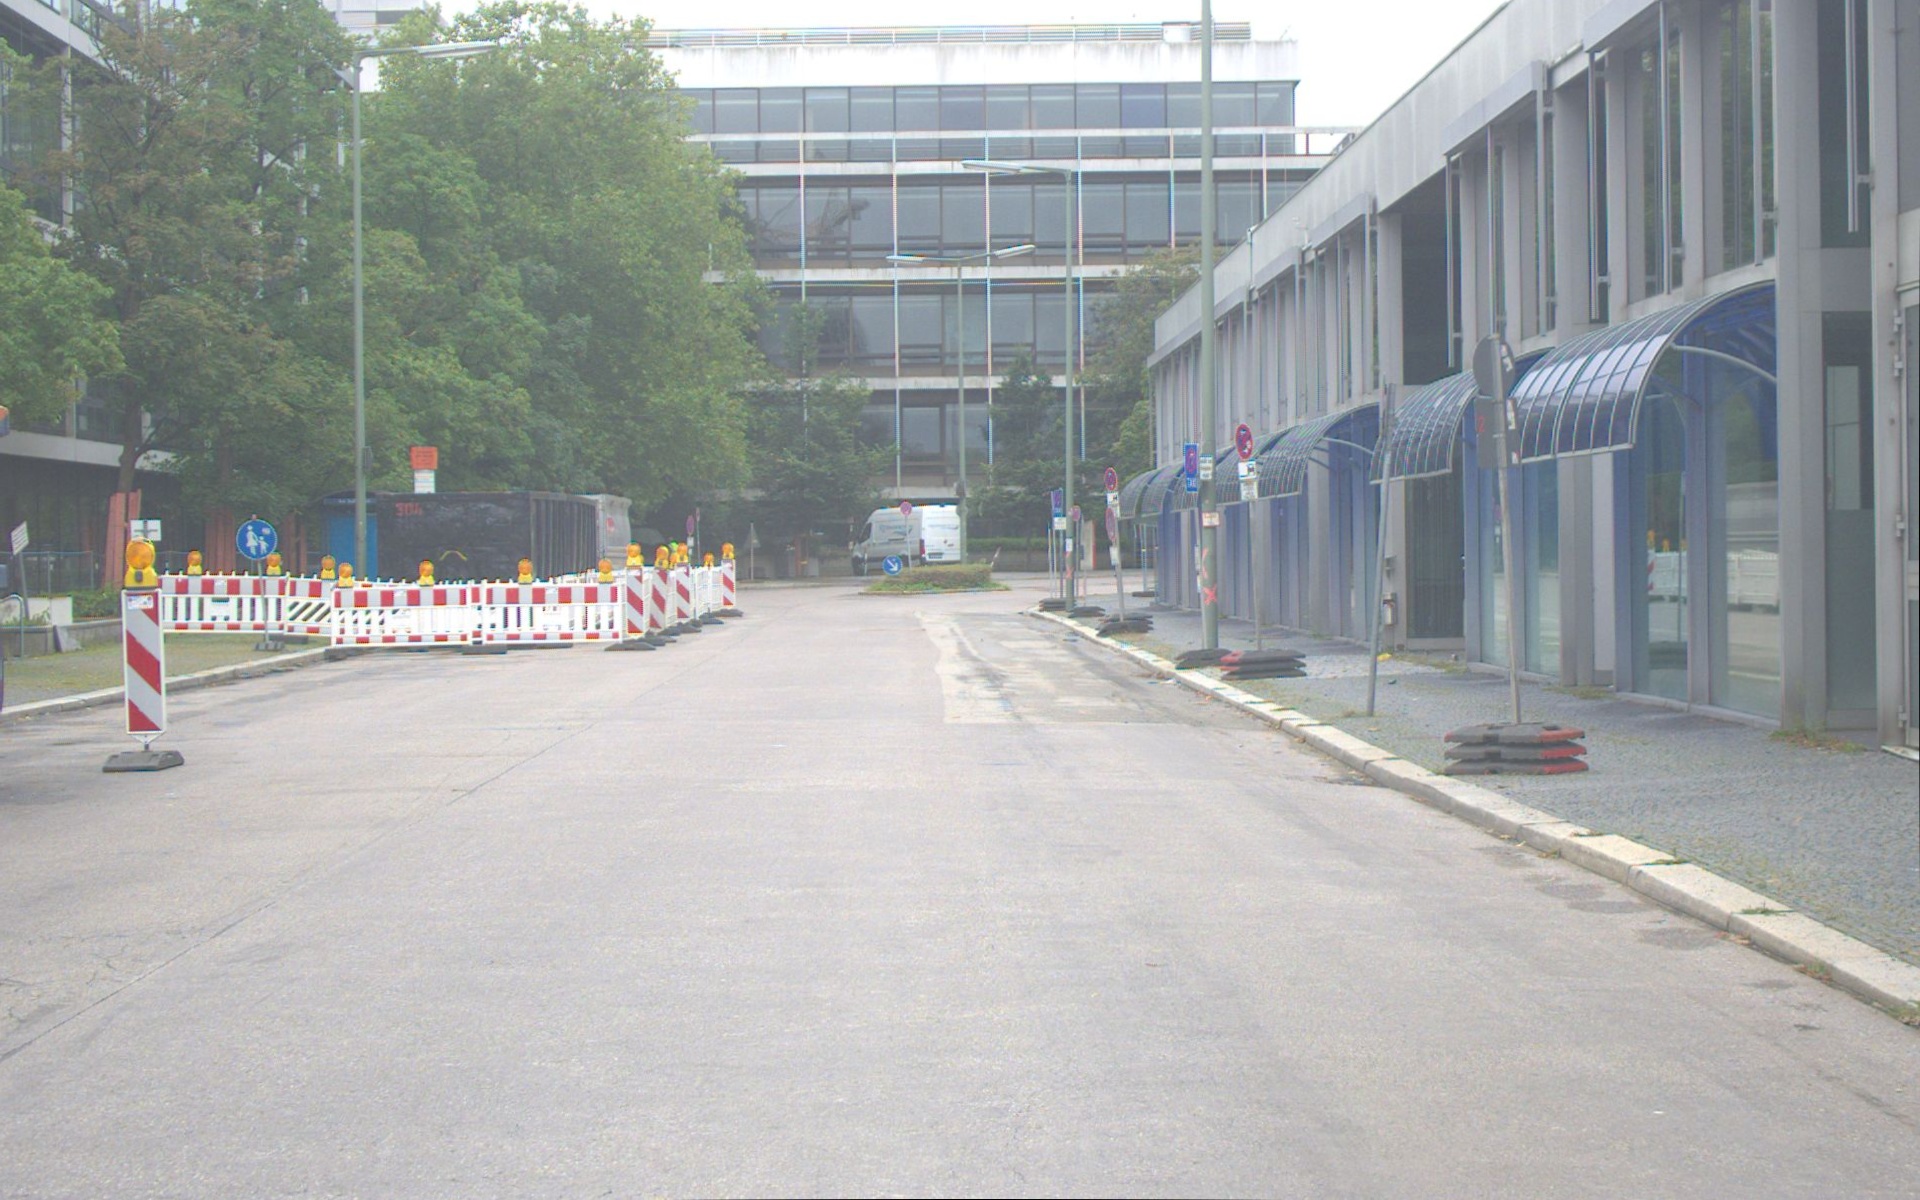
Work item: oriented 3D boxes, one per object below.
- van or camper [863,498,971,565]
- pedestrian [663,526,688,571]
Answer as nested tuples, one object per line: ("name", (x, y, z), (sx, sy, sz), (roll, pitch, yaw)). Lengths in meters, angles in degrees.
("van or camper", (-1.664, -2.614, 130.697), (2.085, 2.483, 5.068), (-1, 1, -26))
("pedestrian", (-10.699, -1.928, 129.346), (0.741, 1.671, 0.682), (-1, 1, -20))
